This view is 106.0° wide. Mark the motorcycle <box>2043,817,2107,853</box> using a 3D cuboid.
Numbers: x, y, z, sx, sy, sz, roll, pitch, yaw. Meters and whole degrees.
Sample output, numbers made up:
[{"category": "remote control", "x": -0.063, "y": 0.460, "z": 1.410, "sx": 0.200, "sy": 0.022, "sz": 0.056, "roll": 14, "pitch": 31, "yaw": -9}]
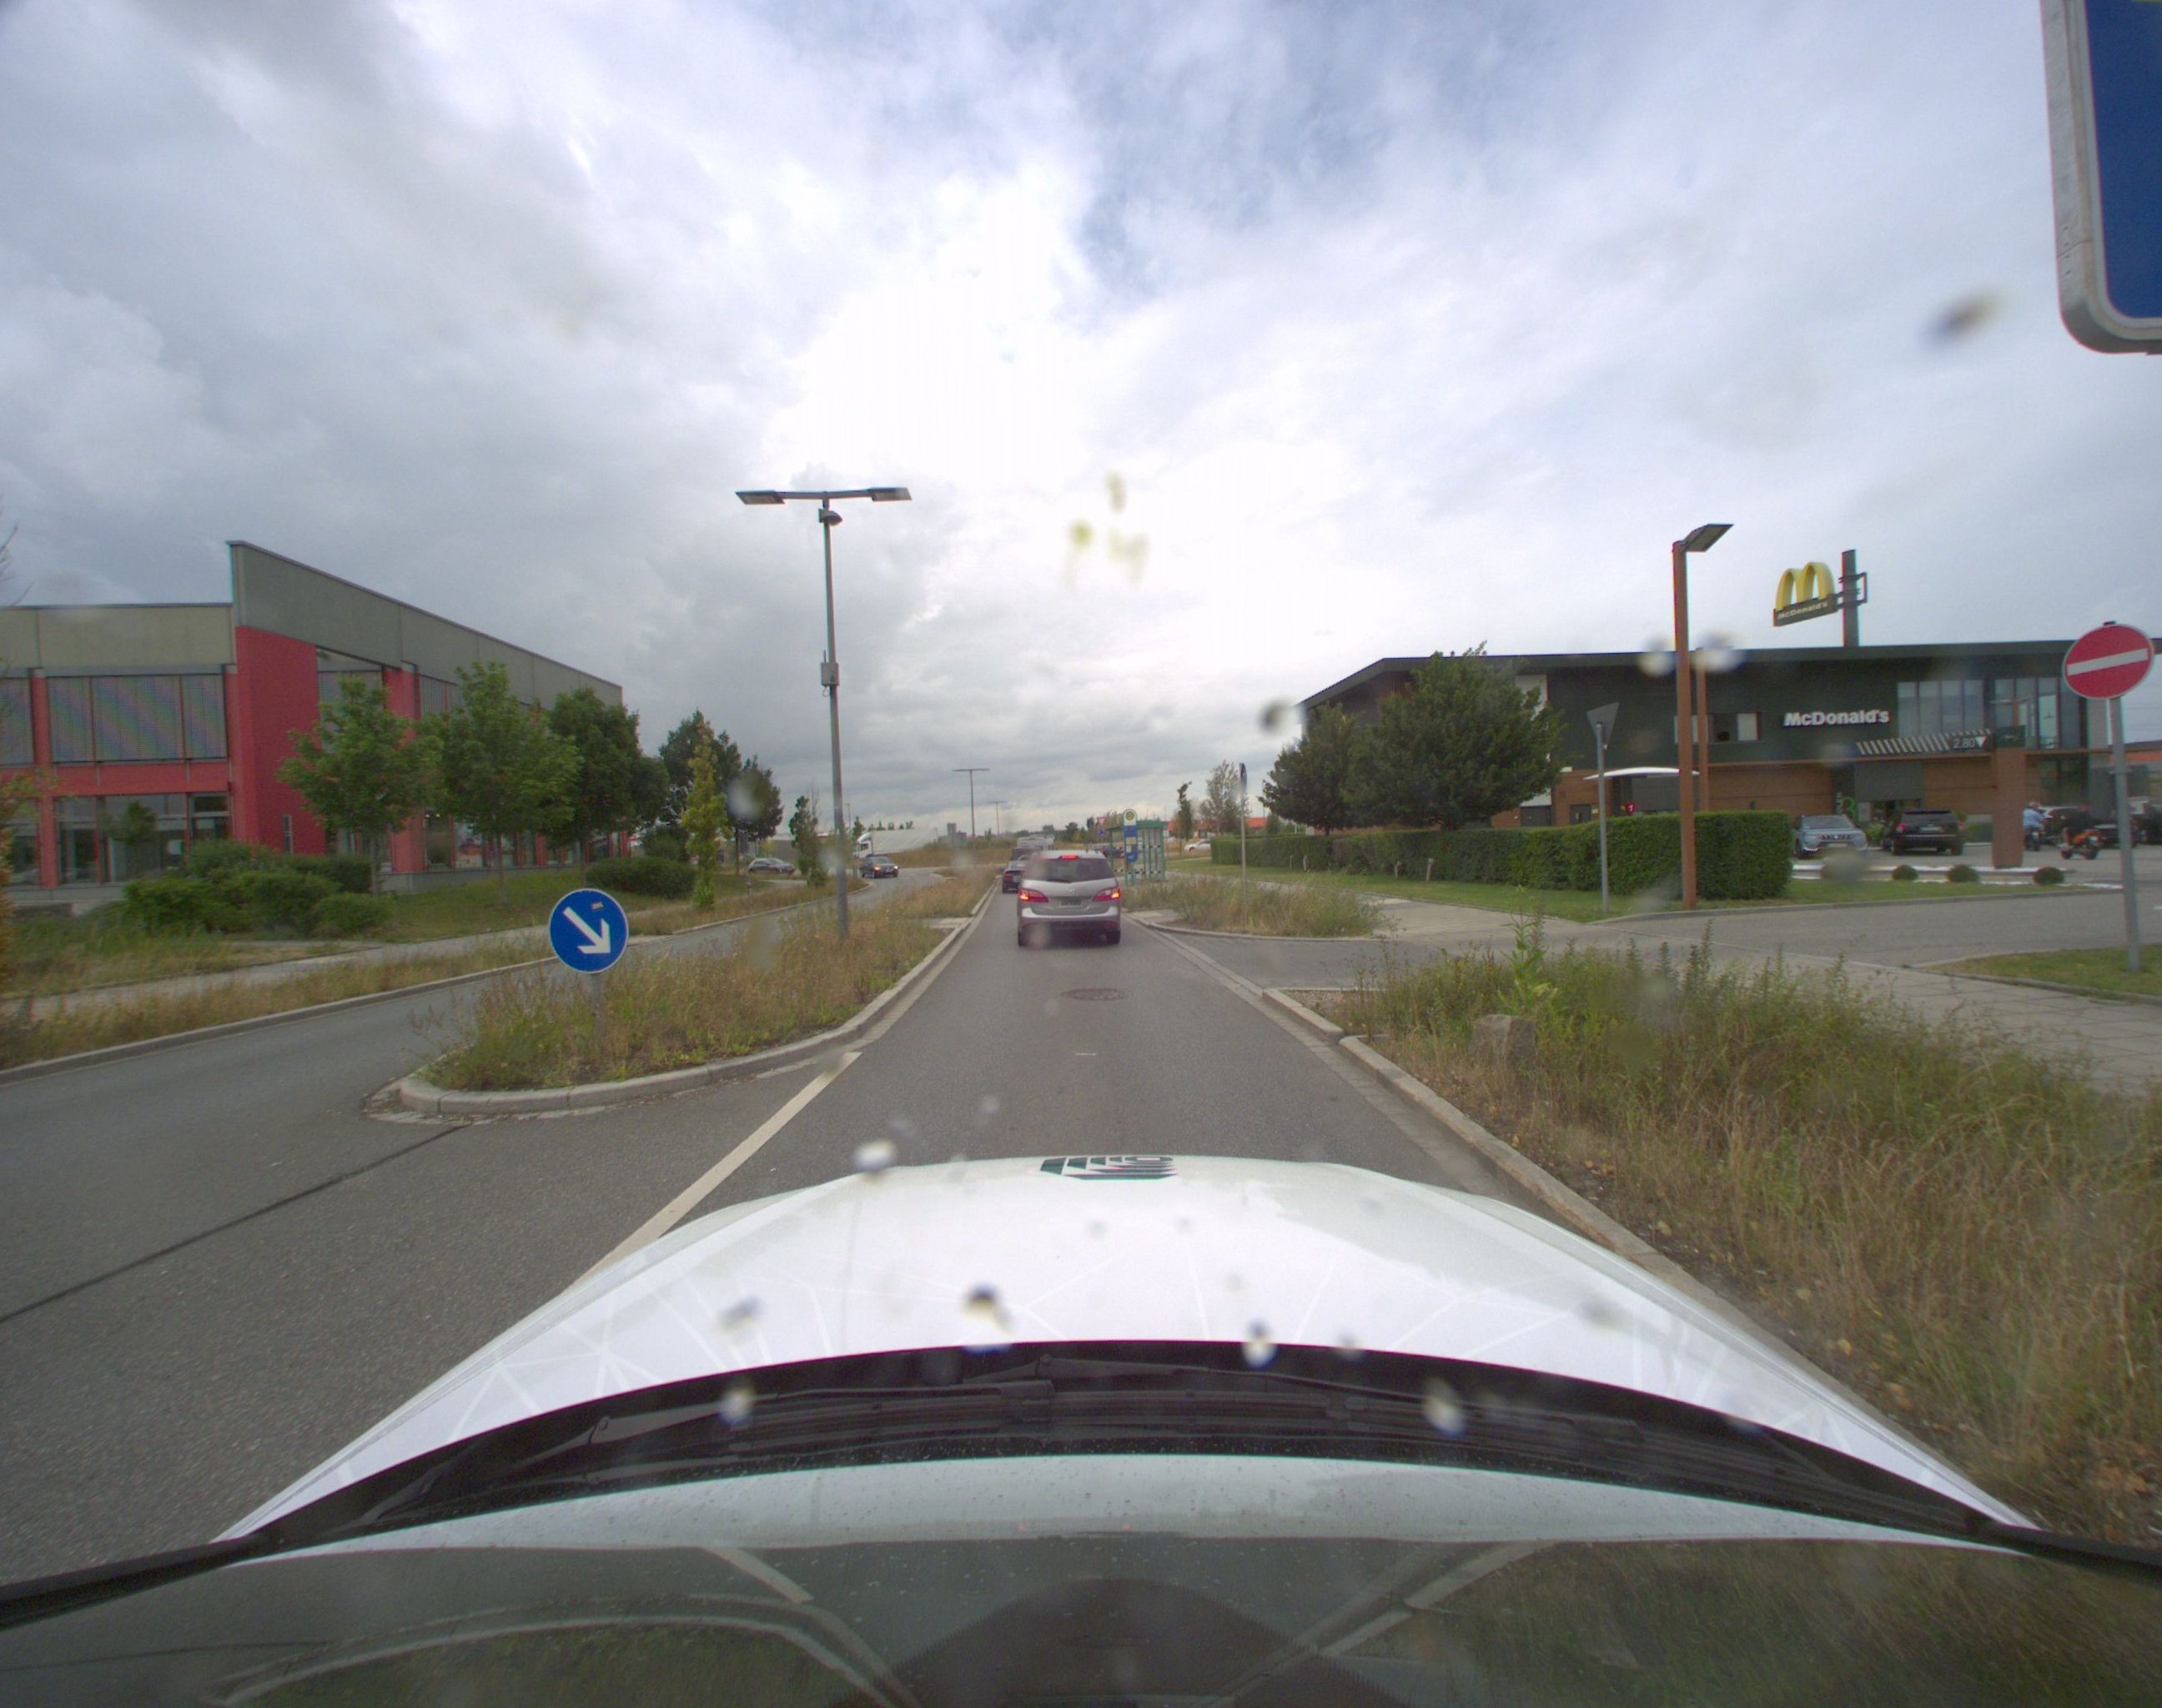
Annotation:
[{"category": "motorcycle", "x": 28.839, "y": -0.566, "z": 23.652, "sx": 0.731, "sy": 0.985, "sz": 1.835, "roll": -2, "pitch": 0, "yaw": 37}]

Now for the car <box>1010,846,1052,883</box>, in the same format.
[{"category": "car", "x": -2.610, "y": 0.518, "z": 43.726, "sx": 2.053, "sy": 1.825, "sz": 4.782, "roll": -2, "pitch": 0, "yaw": -2}]

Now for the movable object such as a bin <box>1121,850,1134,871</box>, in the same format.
[{"category": "movable object such as a bin", "x": 1.836, "y": 0.255, "z": 32.262, "sx": 0.455, "sy": 0.798, "sz": 0.379, "roll": -2, "pitch": 0, "yaw": -6}]

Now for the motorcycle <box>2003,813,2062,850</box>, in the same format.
[{"category": "motorcycle", "x": 34.061, "y": -0.796, "z": 29.188, "sx": 0.848, "sy": 1.244, "sz": 1.979, "roll": -2, "pitch": 0, "yaw": 33}]

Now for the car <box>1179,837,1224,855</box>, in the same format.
[{"category": "car", "x": 12.632, "y": -0.818, "z": 85.629, "sx": 4.579, "sy": 1.757, "sz": 2.003, "roll": -2, "pitch": 0, "yaw": 5}]

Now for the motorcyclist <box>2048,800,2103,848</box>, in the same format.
[{"category": "motorcyclist", "x": 28.850, "y": -0.853, "z": 23.638, "sx": 0.772, "sy": 1.334, "sz": 0.902, "roll": -2, "pitch": 0, "yaw": 37}]

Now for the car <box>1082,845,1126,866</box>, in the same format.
[{"category": "car", "x": 1.885, "y": 0.114, "z": 65.789, "sx": 1.975, "sy": 1.515, "sz": 4.024, "roll": -2, "pitch": 0, "yaw": 27}]

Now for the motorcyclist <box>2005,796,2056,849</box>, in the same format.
[{"category": "motorcyclist", "x": 34.087, "y": -1.108, "z": 29.253, "sx": 0.951, "sy": 1.832, "sz": 0.851, "roll": -2, "pitch": 0, "yaw": 33}]

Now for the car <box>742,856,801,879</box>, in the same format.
[{"category": "car", "x": -25.633, "y": 1.123, "z": 67.474, "sx": 4.153, "sy": 1.592, "sz": 2.076, "roll": -3, "pitch": 1, "yaw": 22}]

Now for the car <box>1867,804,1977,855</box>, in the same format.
[{"category": "car", "x": 30.751, "y": -0.881, "z": 29.931, "sx": 2.095, "sy": 1.717, "sz": 4.258, "roll": -1, "pitch": 0, "yaw": 36}]

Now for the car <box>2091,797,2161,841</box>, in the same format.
[{"category": "car", "x": 40.192, "y": -1.307, "z": 30.148, "sx": 1.975, "sy": 1.581, "sz": 4.024, "roll": -2, "pitch": 0, "yaw": 26}]

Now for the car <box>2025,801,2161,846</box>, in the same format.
[{"category": "car", "x": 37.084, "y": -1.093, "z": 29.951, "sx": 1.767, "sy": 1.497, "sz": 4.025, "roll": -2, "pitch": 0, "yaw": 28}]

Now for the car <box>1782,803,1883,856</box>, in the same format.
[{"category": "car", "x": 26.872, "y": -0.856, "z": 29.273, "sx": 1.974, "sy": 1.717, "sz": 4.026, "roll": -2, "pitch": 0, "yaw": 32}]

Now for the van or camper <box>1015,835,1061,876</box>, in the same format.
[{"category": "van or camper", "x": -2.747, "y": 0.075, "z": 53.055, "sx": 2.292, "sy": 2.506, "sz": 5.212, "roll": -2, "pitch": 0, "yaw": 4}]

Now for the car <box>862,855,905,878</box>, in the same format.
[{"category": "car", "x": -14.017, "y": 0.894, "z": 57.645, "sx": 1.853, "sy": 1.407, "sz": 3.960, "roll": -4, "pitch": 0, "yaw": -31}]

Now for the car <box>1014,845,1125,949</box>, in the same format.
[{"category": "car", "x": -0.291, "y": 0.664, "z": 14.834, "sx": 1.726, "sy": 1.600, "sz": 3.802, "roll": -1, "pitch": 1, "yaw": -4}]

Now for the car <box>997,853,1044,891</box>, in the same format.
[{"category": "car", "x": -2.557, "y": 0.742, "z": 35.224, "sx": 1.840, "sy": 1.418, "sz": 4.220, "roll": -2, "pitch": 1, "yaw": -3}]

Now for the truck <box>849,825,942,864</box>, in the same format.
[{"category": "truck", "x": -20.316, "y": -1.040, "z": 89.393, "sx": 9.362, "sy": 3.906, "sz": 3.114, "roll": -3, "pitch": 0, "yaw": -29}]
